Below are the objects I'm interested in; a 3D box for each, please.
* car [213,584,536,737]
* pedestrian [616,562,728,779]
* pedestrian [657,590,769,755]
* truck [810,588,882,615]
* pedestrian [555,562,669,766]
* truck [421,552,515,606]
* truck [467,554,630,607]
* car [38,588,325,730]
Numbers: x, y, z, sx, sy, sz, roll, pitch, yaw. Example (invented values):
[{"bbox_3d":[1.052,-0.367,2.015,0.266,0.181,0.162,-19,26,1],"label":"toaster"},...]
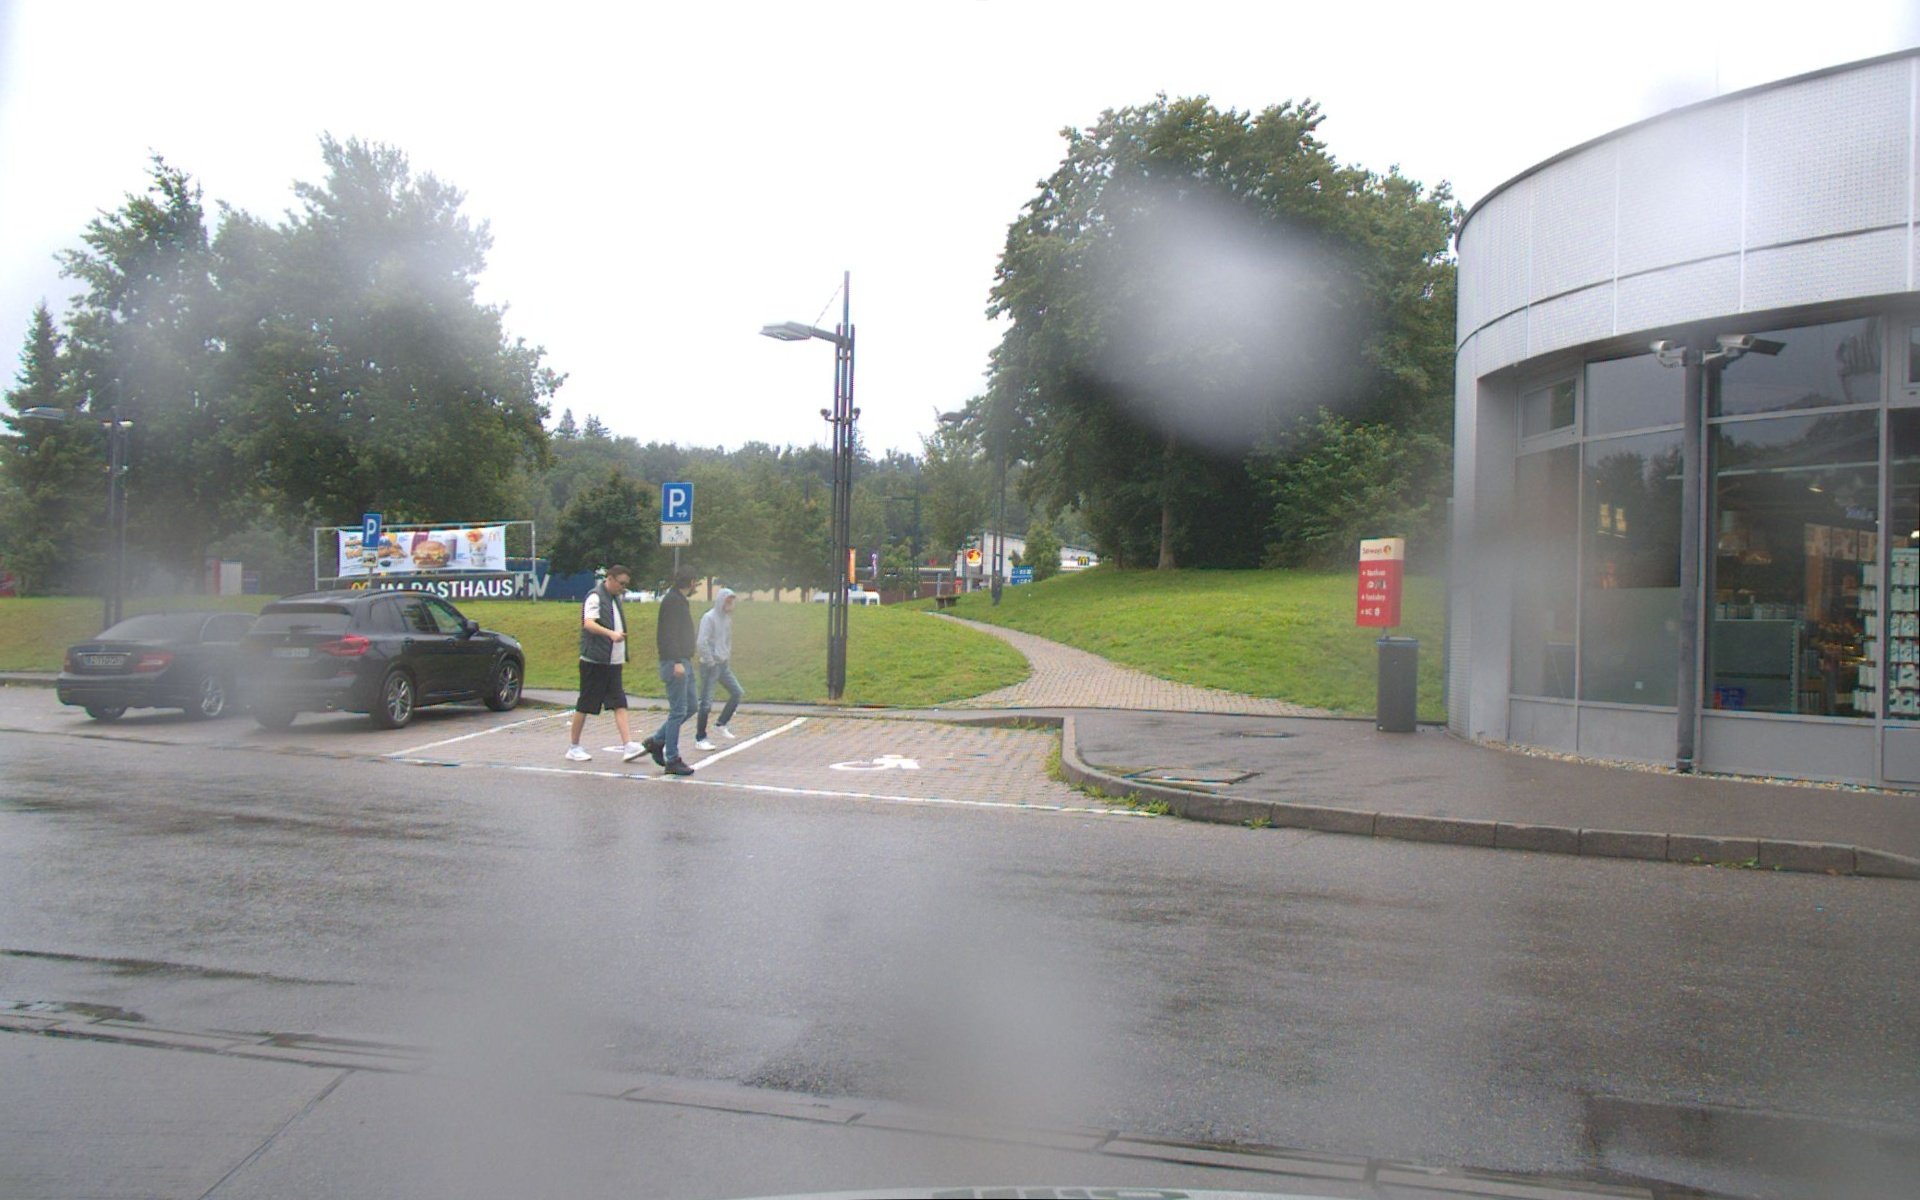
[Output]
[{"bbox_3d":[-7.370,0.693,21.358,1.973,1.741,4.347,-1,1,11],"label":"car"},{"bbox_3d":[-2.615,0.629,15.085,0.872,1.920,0.704,1,-1,-1],"label":"pedestrian"},{"bbox_3d":[-2.554,0.733,17.155,0.930,1.660,0.704,1,-1,12],"label":"pedestrian"},{"bbox_3d":[-9.242,0.138,133.653,5.298,2.049,2.366,1,0,24],"label":"truck"},{"bbox_3d":[-3.364,0.613,16.063,0.931,1.920,0.704,1,-1,-1],"label":"pedestrian"},{"bbox_3d":[-27.988,-1.171,94.239,2.142,2.971,5.384,1,0,24],"label":"truck"},{"bbox_3d":[-24.938,-1.088,101.255,2.142,2.971,13.093,1,0,23],"label":"truck"},{"bbox_3d":[-10.578,0.719,22.876,1.976,1.741,4.342,-1,1,-2],"label":"car"}]
